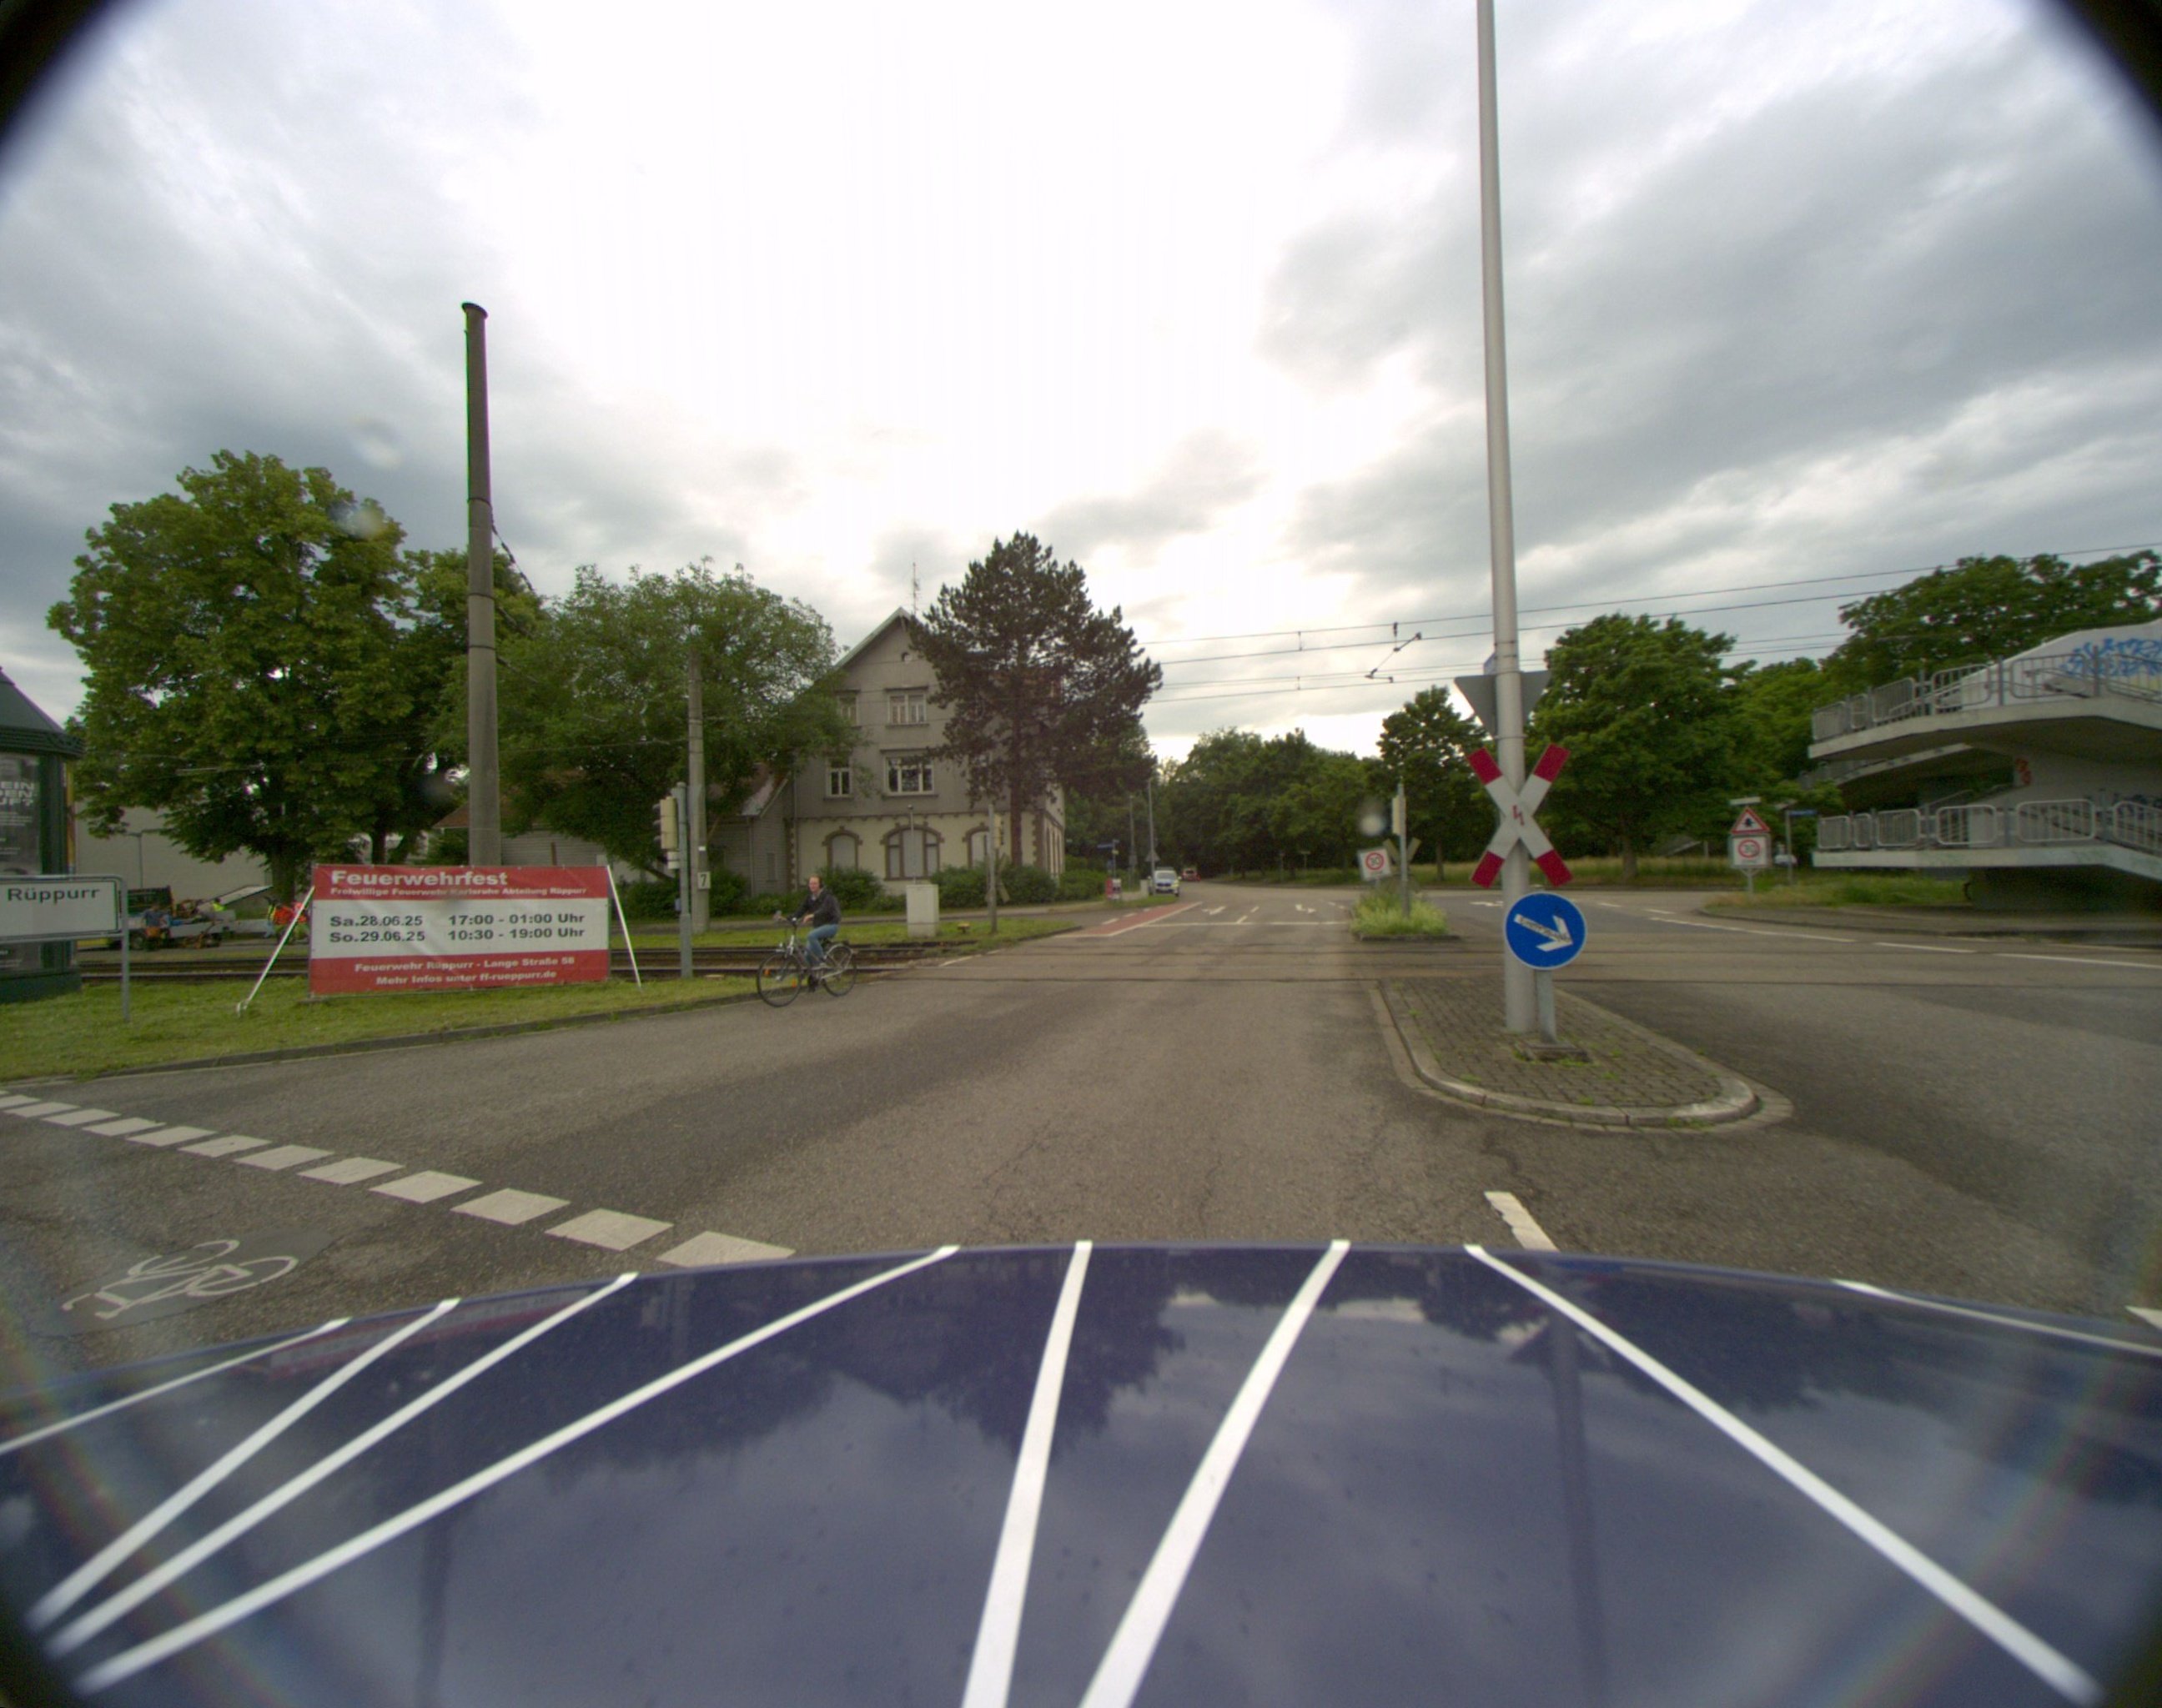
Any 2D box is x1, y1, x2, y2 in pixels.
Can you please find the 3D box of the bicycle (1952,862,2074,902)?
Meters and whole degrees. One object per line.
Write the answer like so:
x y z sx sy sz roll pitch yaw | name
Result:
21.665 0.652 17.711 1.738 0.880 0.395 -3 -1 40 | bicycle

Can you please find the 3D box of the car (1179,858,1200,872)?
14.827 1.496 103.884 2.093 1.846 4.222 -2 -1 -1 | car

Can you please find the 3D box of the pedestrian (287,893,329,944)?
-29.136 2.414 28.657 0.679 1.843 0.875 -2 -1 18 | pedestrian

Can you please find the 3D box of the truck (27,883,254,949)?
-37.312 2.434 30.253 6.403 2.279 2.606 -2 0 7 | truck

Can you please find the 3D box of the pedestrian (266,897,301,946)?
-30.211 2.547 28.794 0.575 1.752 0.636 -2 0 -4 | pedestrian

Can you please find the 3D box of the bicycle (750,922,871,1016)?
-3.545 1.475 10.151 0.383 0.974 2.032 -2 -1 16 | bicycle

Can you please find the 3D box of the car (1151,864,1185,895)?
5.340 1.551 47.150 1.935 1.839 4.002 0 -1 4 | car

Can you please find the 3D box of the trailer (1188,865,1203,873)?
15.081 1.922 100.068 1.570 0.980 3.465 -2 -1 2 | trailer

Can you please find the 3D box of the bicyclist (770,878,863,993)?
-3.578 1.082 10.350 0.622 1.416 0.962 -6 -1 16 | bicyclist

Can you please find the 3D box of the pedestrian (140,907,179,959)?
-34.135 2.914 28.150 0.713 1.829 0.608 -2 0 -29 | pedestrian
